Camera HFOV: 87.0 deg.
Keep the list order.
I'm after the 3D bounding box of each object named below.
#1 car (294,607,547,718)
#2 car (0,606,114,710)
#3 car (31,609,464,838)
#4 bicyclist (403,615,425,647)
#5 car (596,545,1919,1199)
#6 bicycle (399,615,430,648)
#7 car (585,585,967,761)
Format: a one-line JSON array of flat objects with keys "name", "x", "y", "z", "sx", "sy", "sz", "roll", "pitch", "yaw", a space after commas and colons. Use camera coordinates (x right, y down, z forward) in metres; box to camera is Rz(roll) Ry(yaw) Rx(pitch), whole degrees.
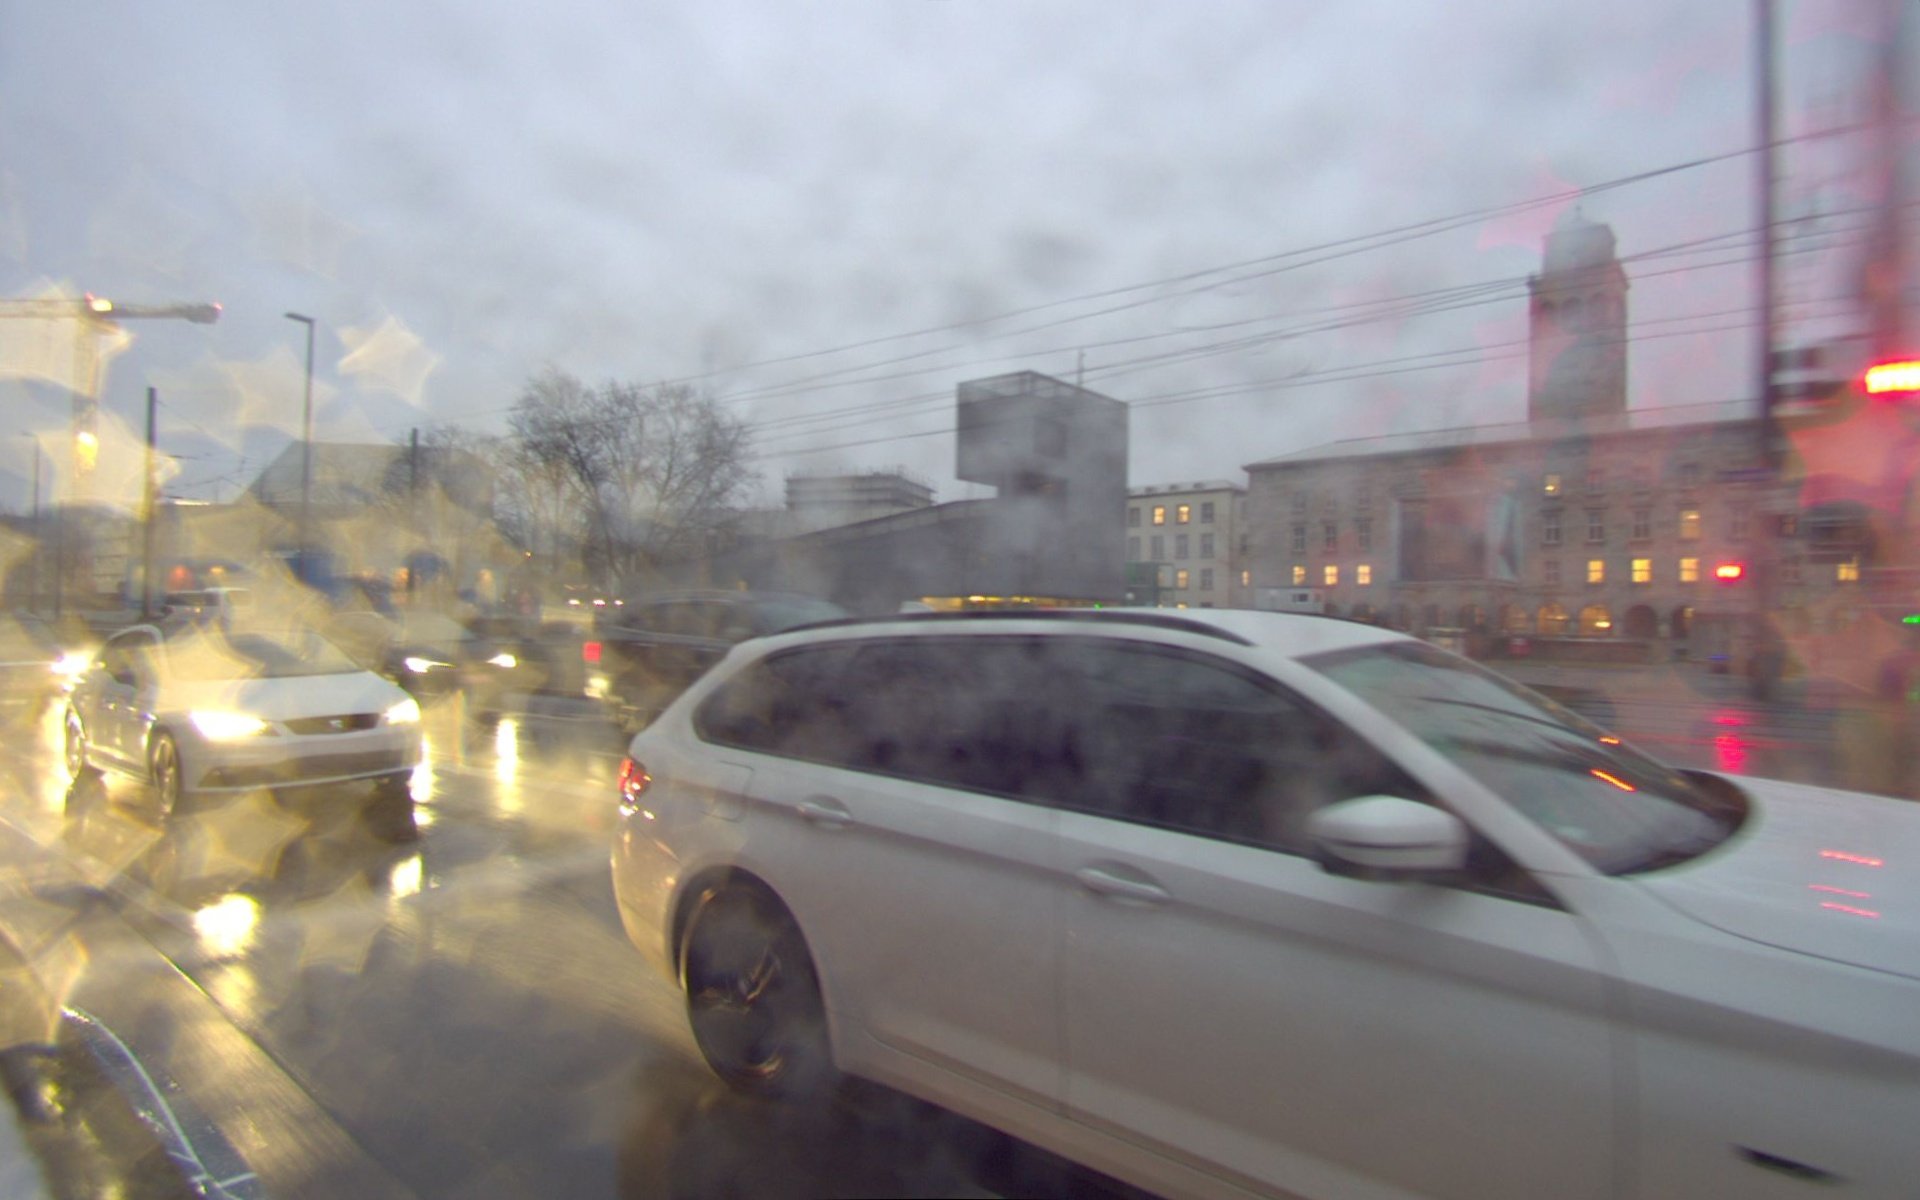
[{"name": "car", "x": -8.682, "y": 0.884, "z": 16.121, "sx": 4.657, "sy": 1.519, "sz": 1.831, "roll": 0, "pitch": -1, "yaw": 38}, {"name": "car", "x": -15.529, "y": 0.864, "z": 16.327, "sx": 4.499, "sy": 1.498, "sz": 1.974, "roll": 0, "pitch": -2, "yaw": 38}, {"name": "car", "x": -6.387, "y": 0.842, "z": 8.883, "sx": 4.500, "sy": 1.498, "sz": 1.925, "roll": -1, "pitch": 0, "yaw": 38}, {"name": "bicyclist", "x": -30.623, "y": 1.737, "z": 56.790, "sx": 0.959, "sy": 1.746, "sz": 0.754, "roll": 1, "pitch": 1, "yaw": 36}, {"name": "car", "x": 1.183, "y": 0.706, "z": 2.715, "sx": 4.555, "sy": 1.498, "sz": 1.997, "roll": -1, "pitch": -2, "yaw": 39}, {"name": "bicycle", "x": -30.662, "y": 1.740, "z": 56.833, "sx": 2.060, "sy": 1.746, "sz": 0.754, "roll": 1, "pitch": 1, "yaw": 37}, {"name": "car", "x": -2.177, "y": 0.674, "z": 11.310, "sx": 4.287, "sy": 1.596, "sz": 1.947, "roll": 0, "pitch": -1, "yaw": 41}]
